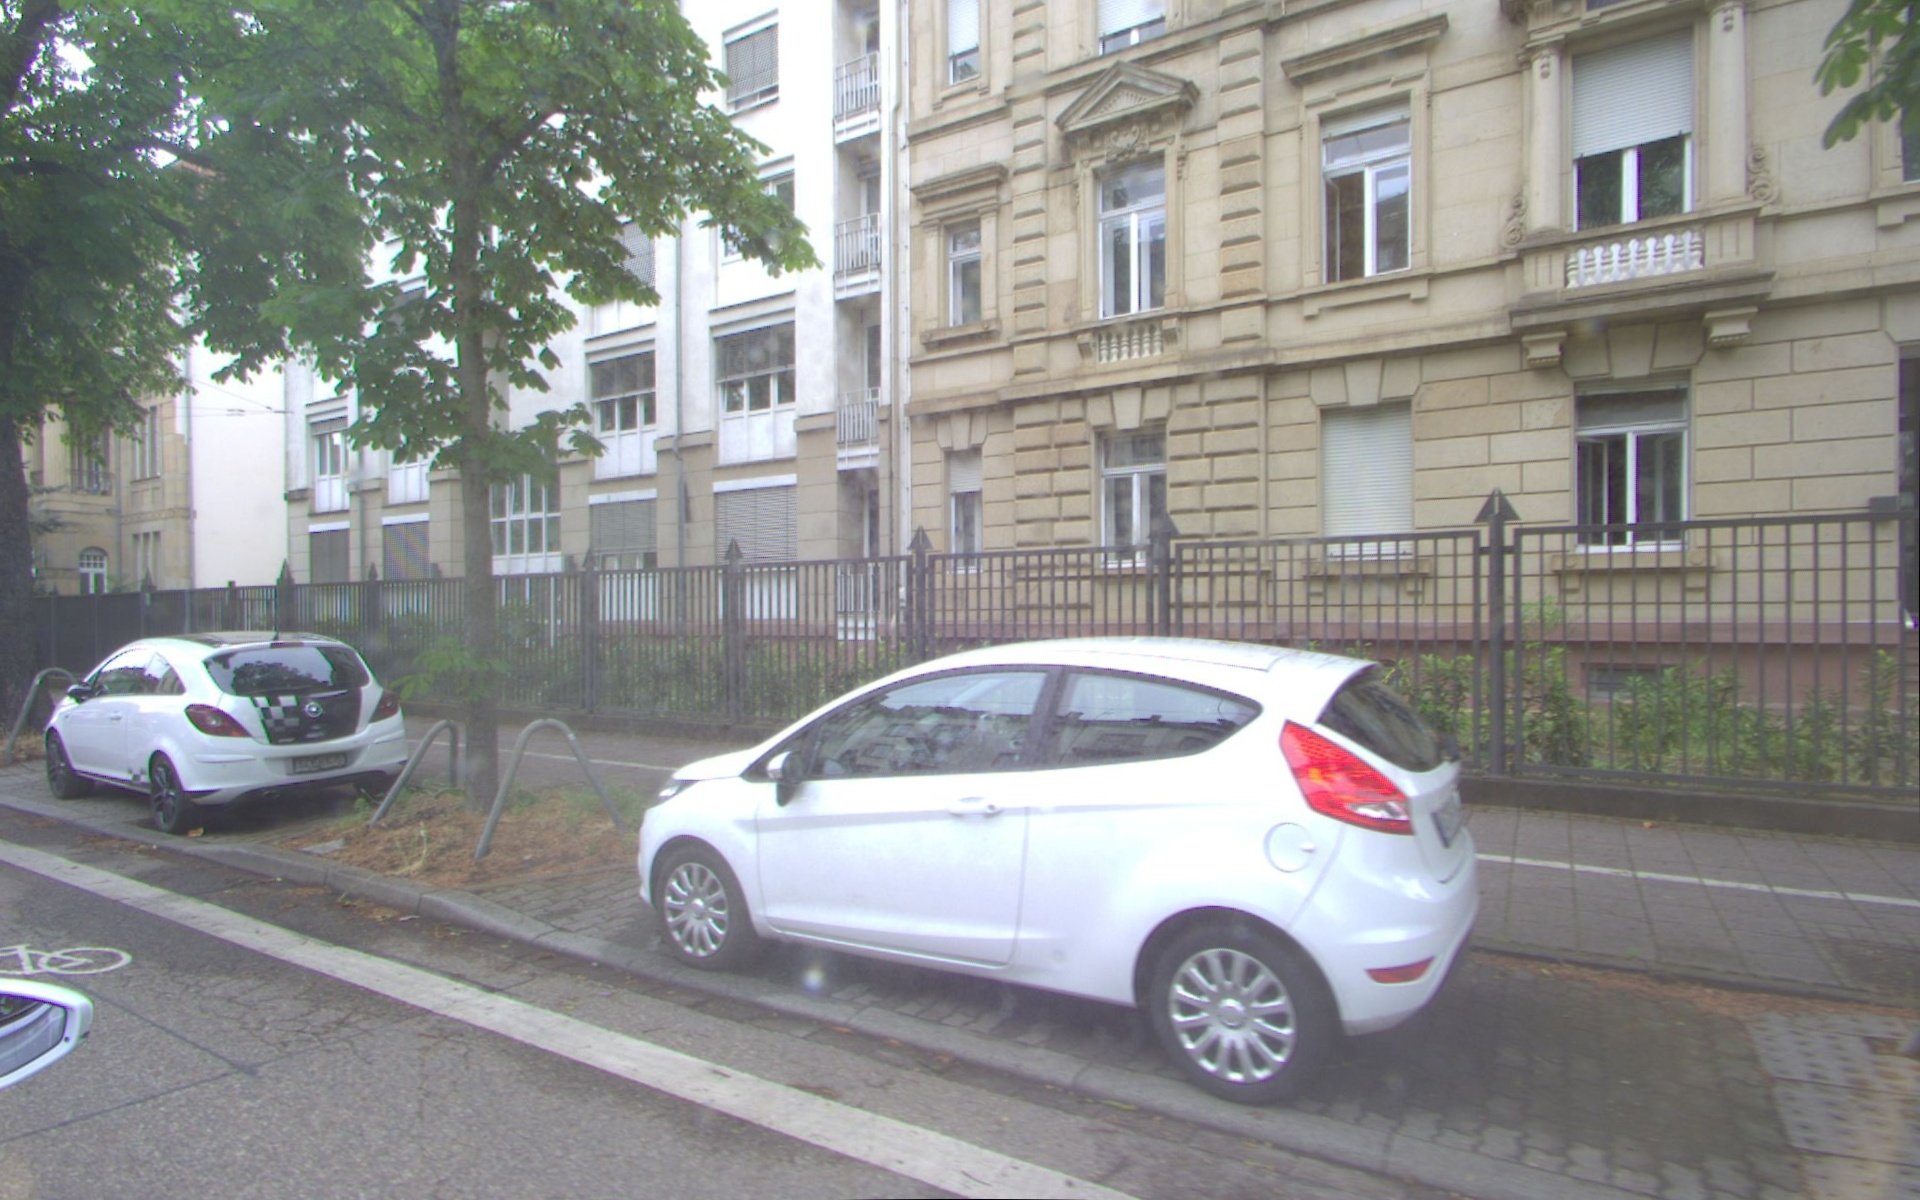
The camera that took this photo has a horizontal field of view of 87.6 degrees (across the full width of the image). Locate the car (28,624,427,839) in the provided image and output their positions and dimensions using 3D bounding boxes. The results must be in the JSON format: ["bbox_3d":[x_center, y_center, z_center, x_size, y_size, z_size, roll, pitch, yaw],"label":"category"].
[{"bbox_3d":[-6.519,0.980,8.825,3.723,1.455,1.598,-1,1,33],"label":"car"}]

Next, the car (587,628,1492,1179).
[{"bbox_3d":[0.226,0.899,4.480,3.710,1.455,1.623,-1,1,32],"label":"car"}]
